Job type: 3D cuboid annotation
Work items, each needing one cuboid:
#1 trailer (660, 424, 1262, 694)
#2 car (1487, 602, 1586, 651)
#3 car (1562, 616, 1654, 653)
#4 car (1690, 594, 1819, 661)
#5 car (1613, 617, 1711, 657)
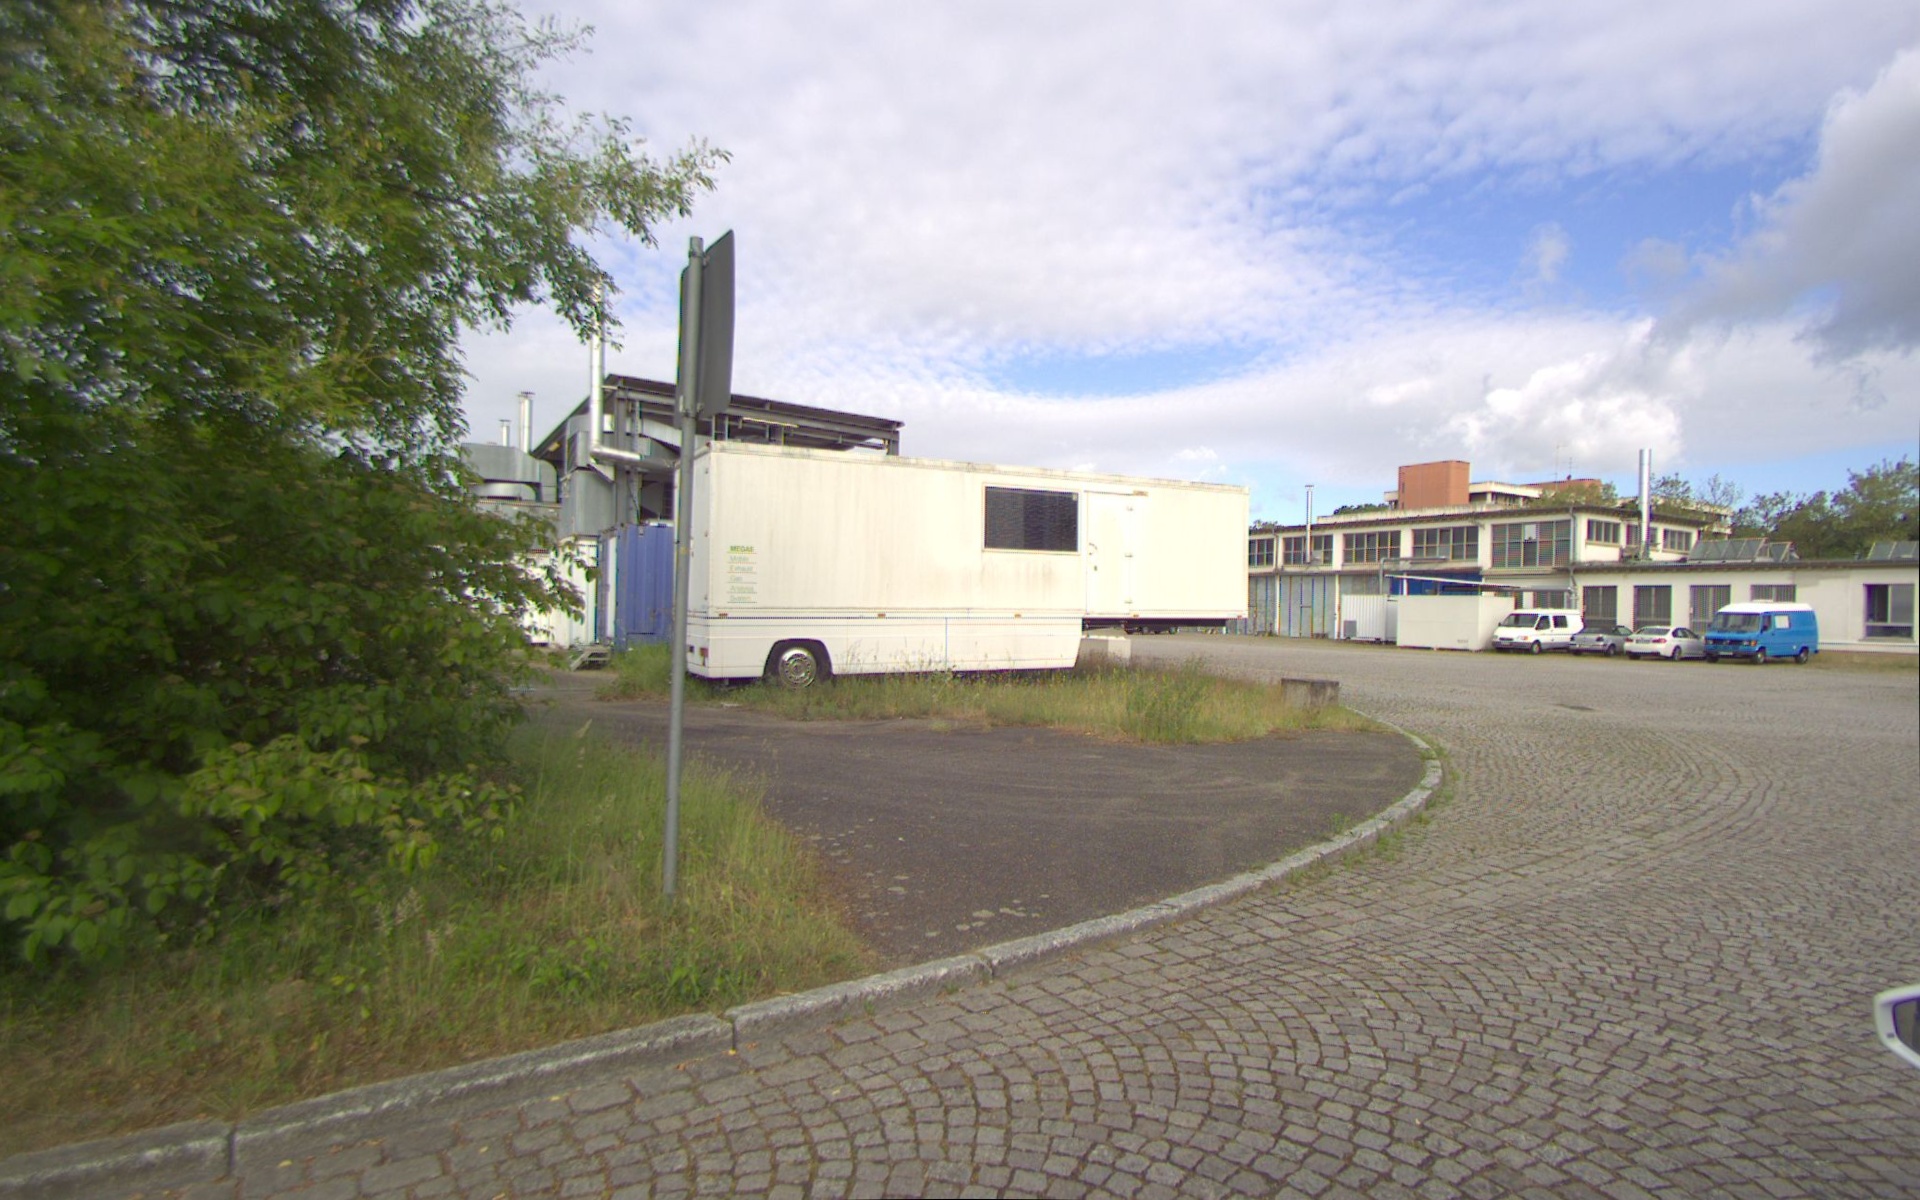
[{"bbox_3d":[0.433,-0.432,17.659,10.588,3.755,2.646,2,-1,-29],"label":"trailer"},{"bbox_3d":[27.448,1.275,47.805,4.723,2.236,1.893,2,-1,-28],"label":"car"},{"bbox_3d":[29.330,1.548,45.436,3.952,1.596,1.892,2,-1,-29],"label":"car"},{"bbox_3d":[32.300,1.138,40.798,5.546,2.557,1.986,2,-1,-27],"label":"car"},{"bbox_3d":[29.806,1.586,42.626,3.952,1.596,1.892,2,-1,-29],"label":"car"}]
